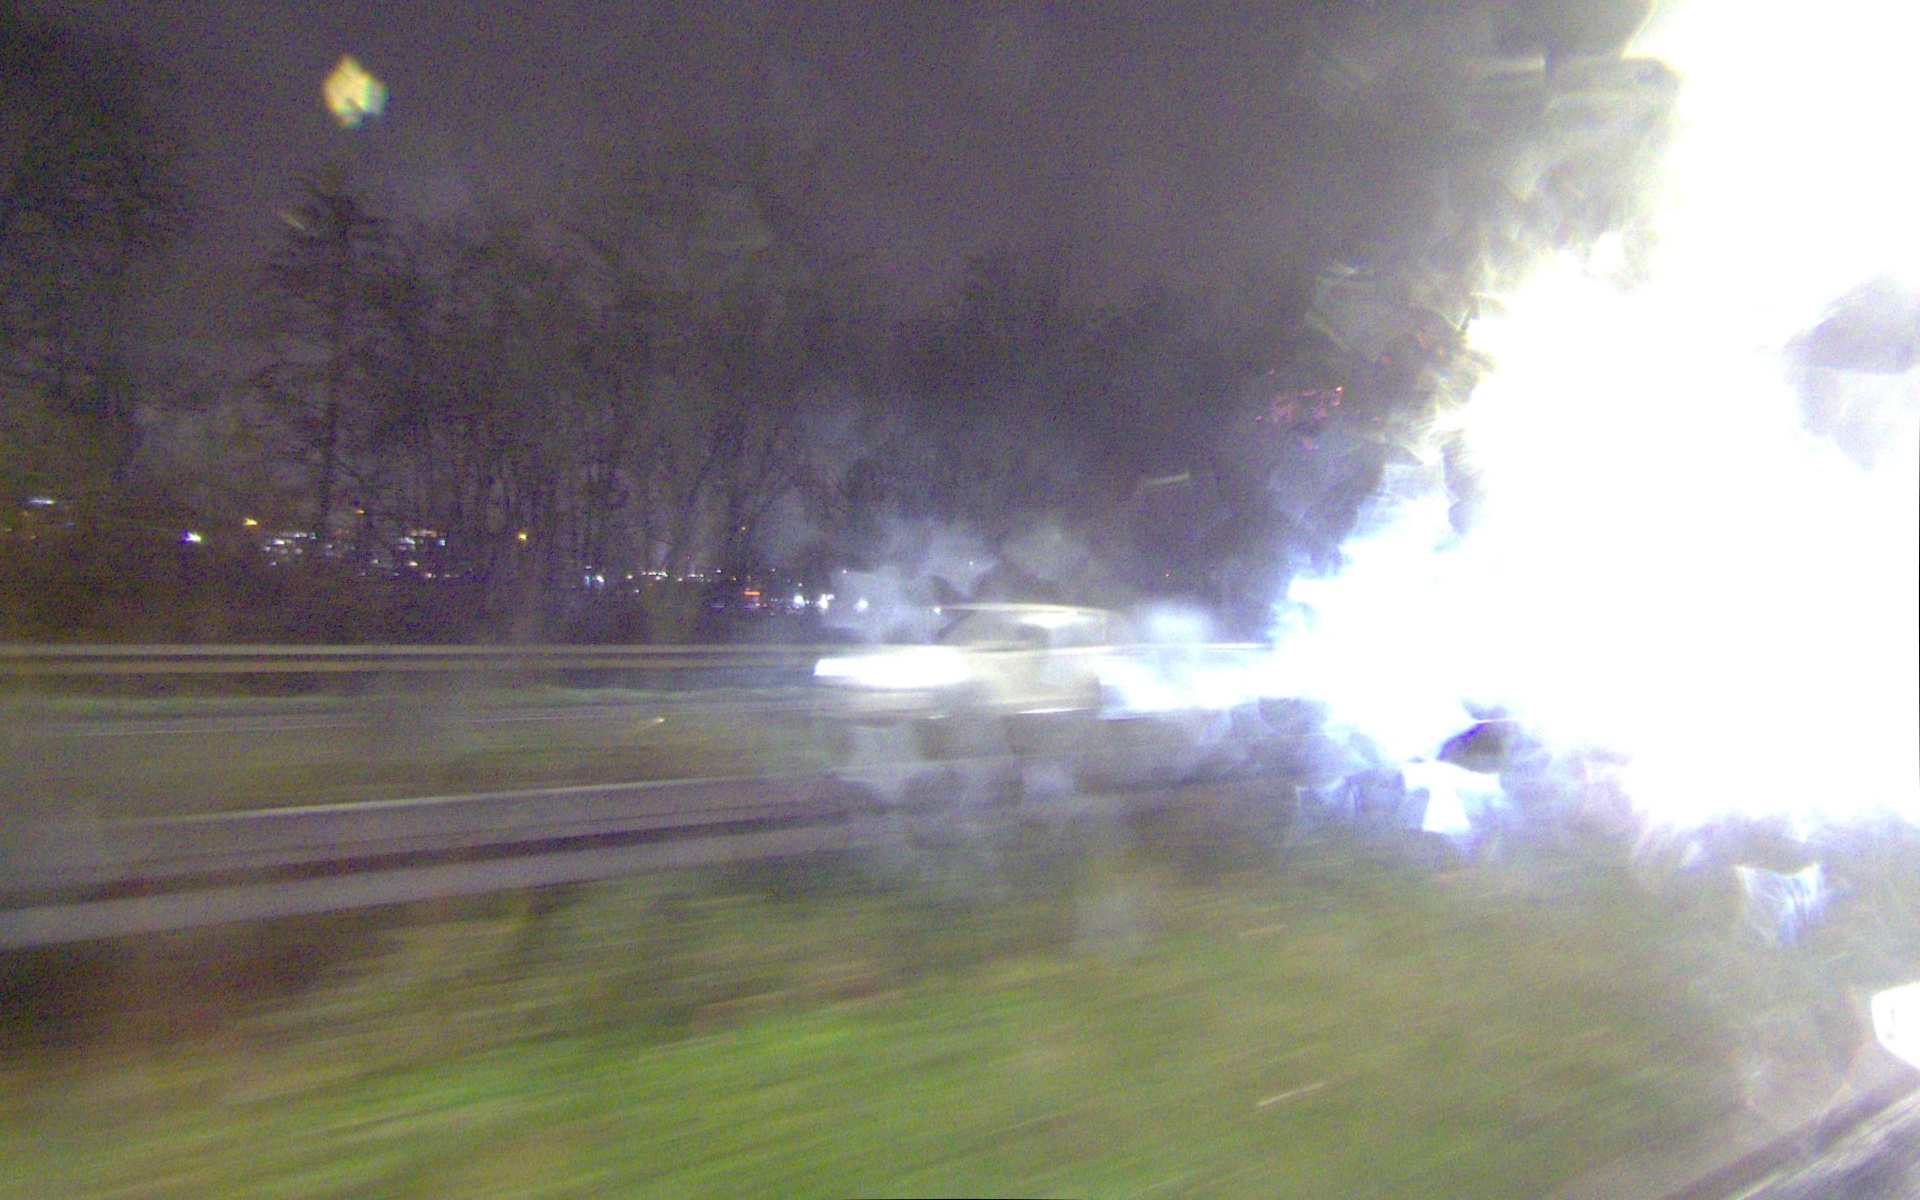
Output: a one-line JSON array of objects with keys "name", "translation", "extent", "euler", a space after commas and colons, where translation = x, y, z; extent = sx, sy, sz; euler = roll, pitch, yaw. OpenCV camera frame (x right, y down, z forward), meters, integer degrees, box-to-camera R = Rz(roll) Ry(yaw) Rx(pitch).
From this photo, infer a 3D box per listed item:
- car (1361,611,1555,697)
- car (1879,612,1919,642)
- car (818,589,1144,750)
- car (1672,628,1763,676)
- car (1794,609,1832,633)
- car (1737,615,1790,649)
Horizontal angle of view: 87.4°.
[{"name": "car", "translation": [10.525, 1.101, 21.117], "extent": [4.516, 1.614, 1.762], "euler": [2, -1, -36]}, {"name": "car", "translation": [58.811, 1.694, 61.943], "extent": [2.057, 1.665, 3.725], "euler": [6, 2, 27]}, {"name": "car", "translation": [0.311, 0.691, 11.774], "extent": [3.477, 1.592, 1.833], "euler": [0, 0, -39]}, {"name": "car", "translation": [25.464, 1.718, 33.719], "extent": [3.911, 1.515, 1.719], "euler": [2, -3, -42]}, {"name": "car", "translation": [66.340, 1.664, 78.144], "extent": [1.968, 1.744, 3.984], "euler": [3, 0, 37]}, {"name": "car", "translation": [37.259, 1.443, 46.541], "extent": [1.769, 1.476, 4.554], "euler": [-1, -2, 41]}]
